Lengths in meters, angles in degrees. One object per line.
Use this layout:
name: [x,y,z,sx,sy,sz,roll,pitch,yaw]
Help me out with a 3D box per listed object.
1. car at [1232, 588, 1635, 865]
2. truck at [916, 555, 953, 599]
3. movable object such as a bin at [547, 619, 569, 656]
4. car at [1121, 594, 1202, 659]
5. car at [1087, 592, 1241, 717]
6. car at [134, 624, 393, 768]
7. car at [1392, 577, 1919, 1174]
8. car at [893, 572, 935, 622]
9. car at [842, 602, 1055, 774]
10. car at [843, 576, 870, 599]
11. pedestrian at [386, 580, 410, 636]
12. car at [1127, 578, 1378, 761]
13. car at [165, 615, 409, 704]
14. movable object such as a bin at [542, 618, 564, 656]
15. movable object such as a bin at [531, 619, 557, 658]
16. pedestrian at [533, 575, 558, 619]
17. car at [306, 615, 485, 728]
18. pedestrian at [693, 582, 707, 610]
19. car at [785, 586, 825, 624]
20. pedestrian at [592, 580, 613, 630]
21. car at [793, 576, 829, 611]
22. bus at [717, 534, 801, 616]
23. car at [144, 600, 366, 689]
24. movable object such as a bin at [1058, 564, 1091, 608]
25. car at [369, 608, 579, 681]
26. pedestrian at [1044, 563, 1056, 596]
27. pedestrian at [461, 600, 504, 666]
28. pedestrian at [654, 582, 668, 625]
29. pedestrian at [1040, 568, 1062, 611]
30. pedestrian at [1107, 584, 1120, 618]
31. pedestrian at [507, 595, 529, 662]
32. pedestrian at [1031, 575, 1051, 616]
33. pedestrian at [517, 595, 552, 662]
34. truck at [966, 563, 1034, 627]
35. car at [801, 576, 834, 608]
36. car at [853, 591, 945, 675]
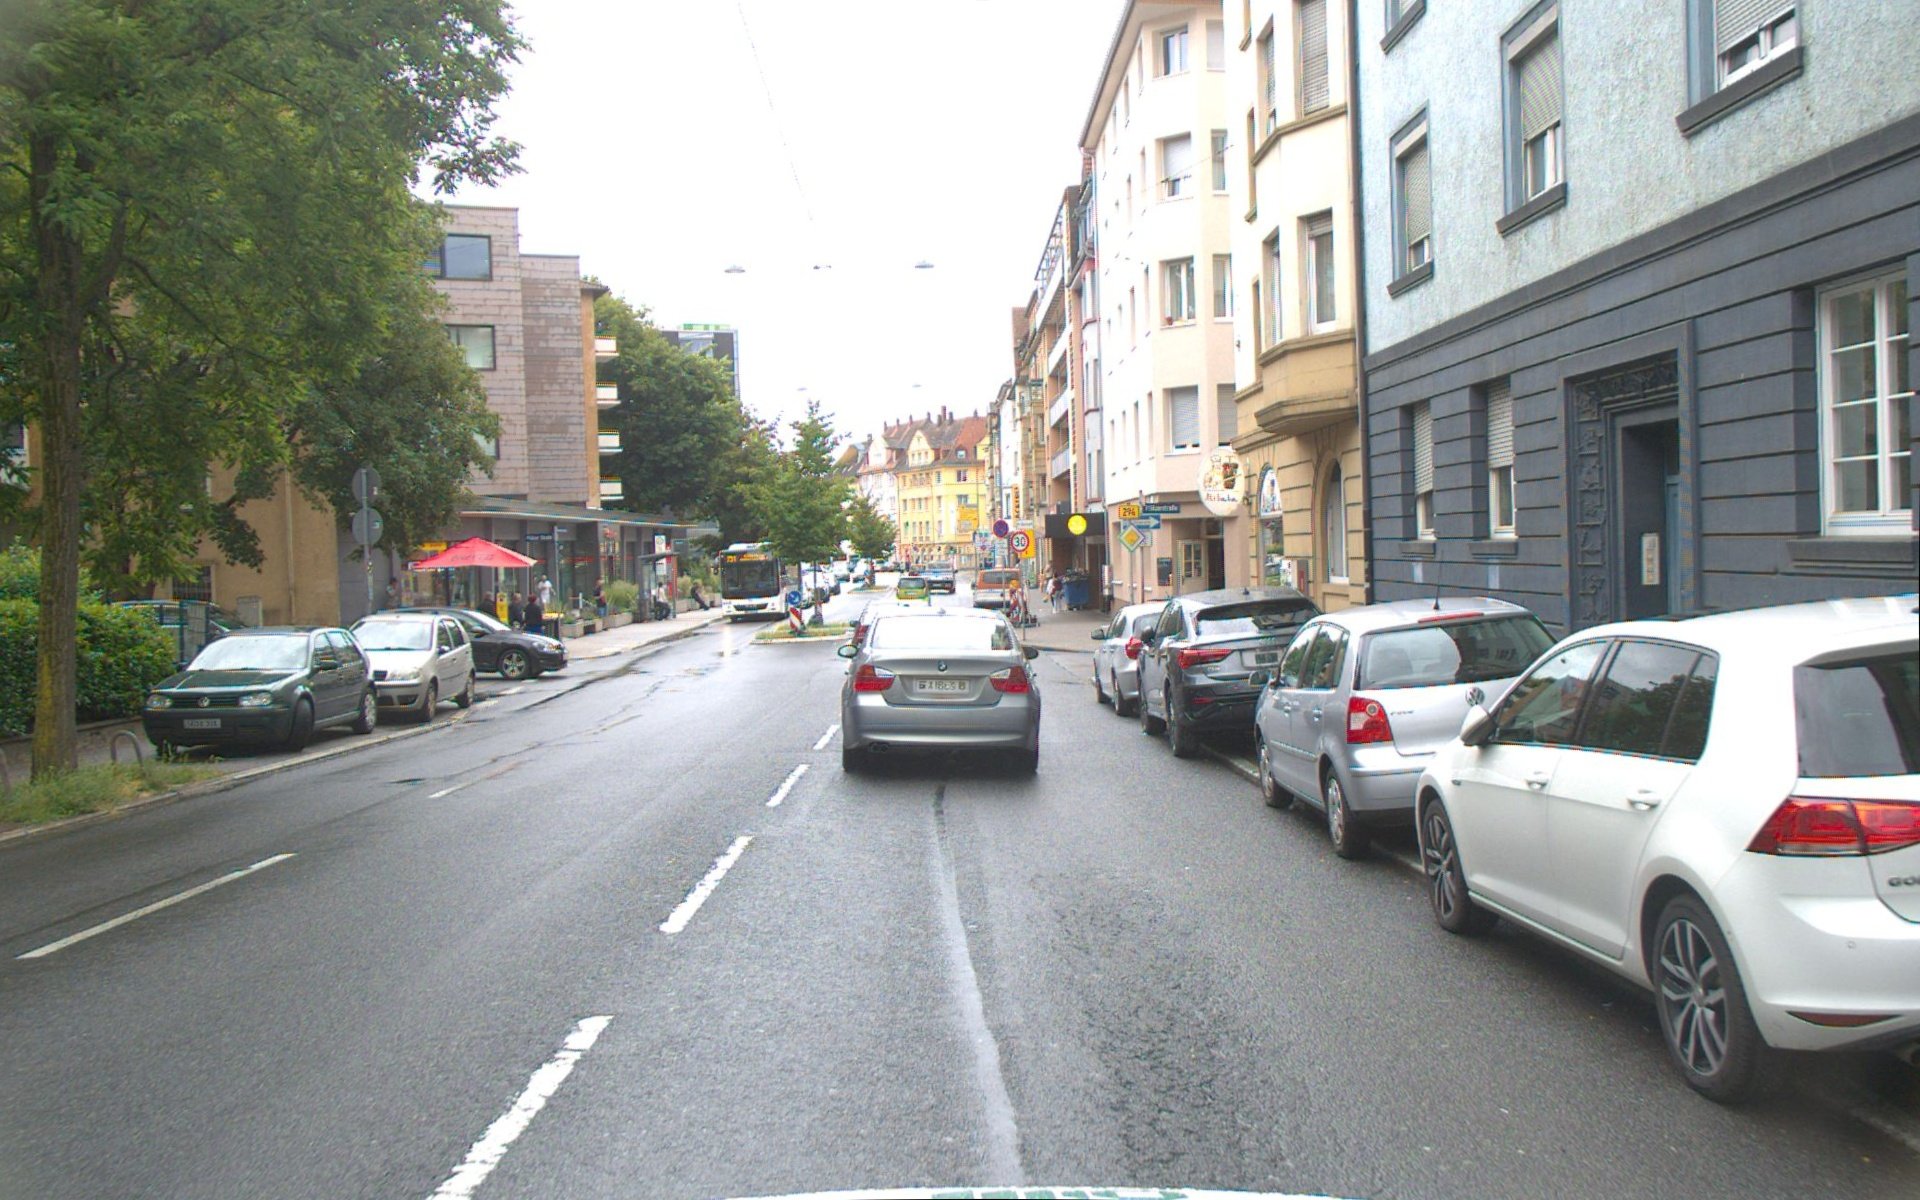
car: [2.996,0.711,11.209,1.551,1.454,3.594,-4,0,-1]
truck: [-1.612,-1.411,103.558,2.172,2.589,4.778,1,-1,-2]
movable object such as a bin: [-12.087,1.119,49.691,0.480,1.100,0.606,-2,-1,-1]
car: [4.568,0.606,37.838,1.406,1.380,3.762,1,-1,1]
car: [2.740,0.691,23.021,1.537,1.489,4.088,-3,0,0]
car: [-8.412,1.096,20.336,1.620,1.479,3.940,-2,0,-3]
car: [3.100,0.701,6.335,1.694,1.454,3.973,-4,0,-1]
car: [-2.006,-0.092,70.811,1.671,2.049,3.997,1,-1,-3]
car: [-0.114,0.735,14.952,1.720,1.386,3.164,0,-1,-1]
car: [-9.632,-1.143,154.305,1.951,2.049,4.002,1,-1,4]
pedestrian: [-18.958,0.255,55.781,0.628,1.847,0.630,-2,1,-27]
car: [2.932,0.642,17.478,1.781,1.585,4.292,-3,0,0]
car: [-12.361,1.083,30.530,3.737,1.414,1.743,-2,1,1]
movable object such as a bin: [-12.060,1.090,49.013,0.480,1.100,0.606,-2,-1,-1]
movable object such as a bin: [-12.142,1.119,48.248,0.542,1.100,0.731,-2,-1,0]
pedestrian: [-16.409,-0.111,65.411,0.646,1.735,0.660,0,-1,31]
car: [-8.347,0.999,24.763,1.600,1.479,3.836,-1,0,-5]
pedestrian: [-13.168,-0.208,83.748,0.607,1.402,0.544,1,-1,0]
car: [-8.825,0.329,94.451,1.953,2.049,3.998,2,-1,-2]
pedestrian: [-13.188,0.171,61.007,0.540,1.821,0.459,2,-2,-43]
car: [-9.009,-0.366,100.269,1.953,2.049,3.998,1,-1,-2]
bus: [-8.834,-0.963,74.025,2.627,3.257,11.950,1,-1,-2]
car: [-14.258,0.883,33.606,3.732,1.609,1.693,-2,2,-2]
movable object such as a bin: [4.703,-0.552,67.880,1.100,1.732,1.433,-2,-1,-3]
car: [-9.792,0.891,33.515,3.739,1.414,1.742,0,-1,-2]
pedestrian: [4.742,-1.058,86.991,0.602,1.690,0.755,1,-1,5]
pedestrian: [-12.936,0.887,44.827,1.043,1.761,0.712,-1,1,-11]
pedestrian: [-12.271,0.148,67.869,0.532,1.739,0.465,1,-1,-7]
pedestrian: [3.657,-0.409,66.485,0.736,1.690,0.753,1,-1,-8]
pedestrian: [5.685,0.020,61.191,0.404,1.223,0.357,-4,1,2]
pedestrian: [-11.570,0.734,43.258,0.458,1.739,0.541,2,-1,-21]
pedestrian: [3.380,-0.190,68.946,0.733,1.690,0.837,1,-1,5]
pedestrian: [-11.340,0.753,44.089,0.729,1.738,0.676,-4,1,-22]
truck: [1.526,-0.156,60.840,2.169,2.154,4.654,2,0,5]
car: [-9.612,-0.510,112.072,1.953,2.049,3.998,1,-1,-2]
car: [-1.151,0.600,30.500,1.570,1.445,3.285,1,-1,-3]
